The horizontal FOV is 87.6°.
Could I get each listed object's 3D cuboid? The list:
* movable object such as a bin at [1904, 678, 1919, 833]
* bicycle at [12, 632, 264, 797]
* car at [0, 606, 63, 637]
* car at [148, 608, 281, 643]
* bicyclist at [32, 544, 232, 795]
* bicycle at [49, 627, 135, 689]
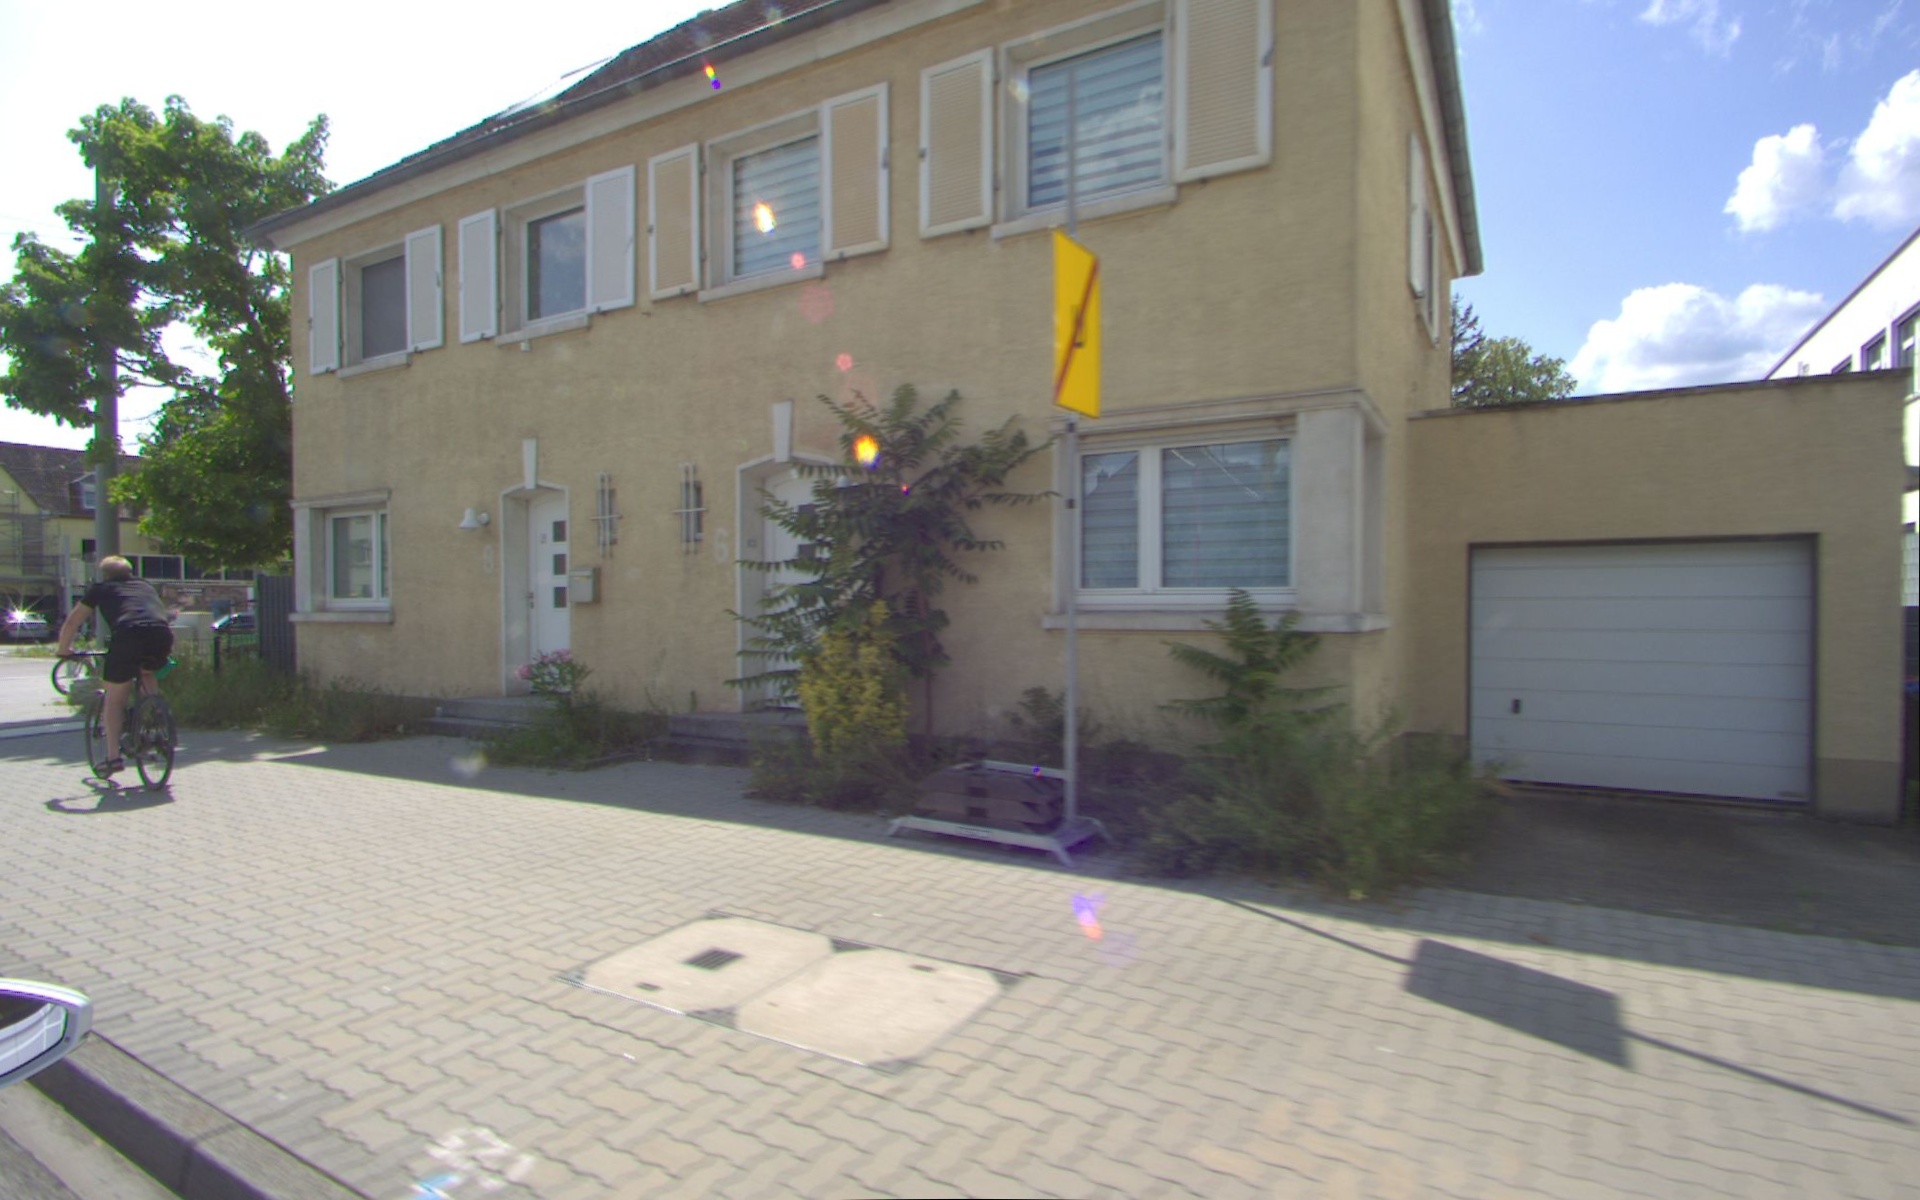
[{"bbox_3d":[7.360,1.139,7.295,0.659,1.101,0.611,-1,-2,41],"label":"movable object such as a bin"},{"bbox_3d":[-6.448,0.829,7.845,1.940,1.090,0.827,0,2,28],"label":"bicycle"},{"bbox_3d":[-44.427,1.041,47.410,4.073,1.368,1.864,-1,-2,33],"label":"car"},{"bbox_3d":[-32.305,1.084,43.546,1.713,1.346,4.310,-1,0,29],"label":"car"},{"bbox_3d":[-6.487,0.495,7.859,1.067,1.818,0.827,1,2,28],"label":"bicyclist"},{"bbox_3d":[-14.992,0.984,17.346,0.455,1.031,1.753,1,-2,-18],"label":"bicycle"}]
